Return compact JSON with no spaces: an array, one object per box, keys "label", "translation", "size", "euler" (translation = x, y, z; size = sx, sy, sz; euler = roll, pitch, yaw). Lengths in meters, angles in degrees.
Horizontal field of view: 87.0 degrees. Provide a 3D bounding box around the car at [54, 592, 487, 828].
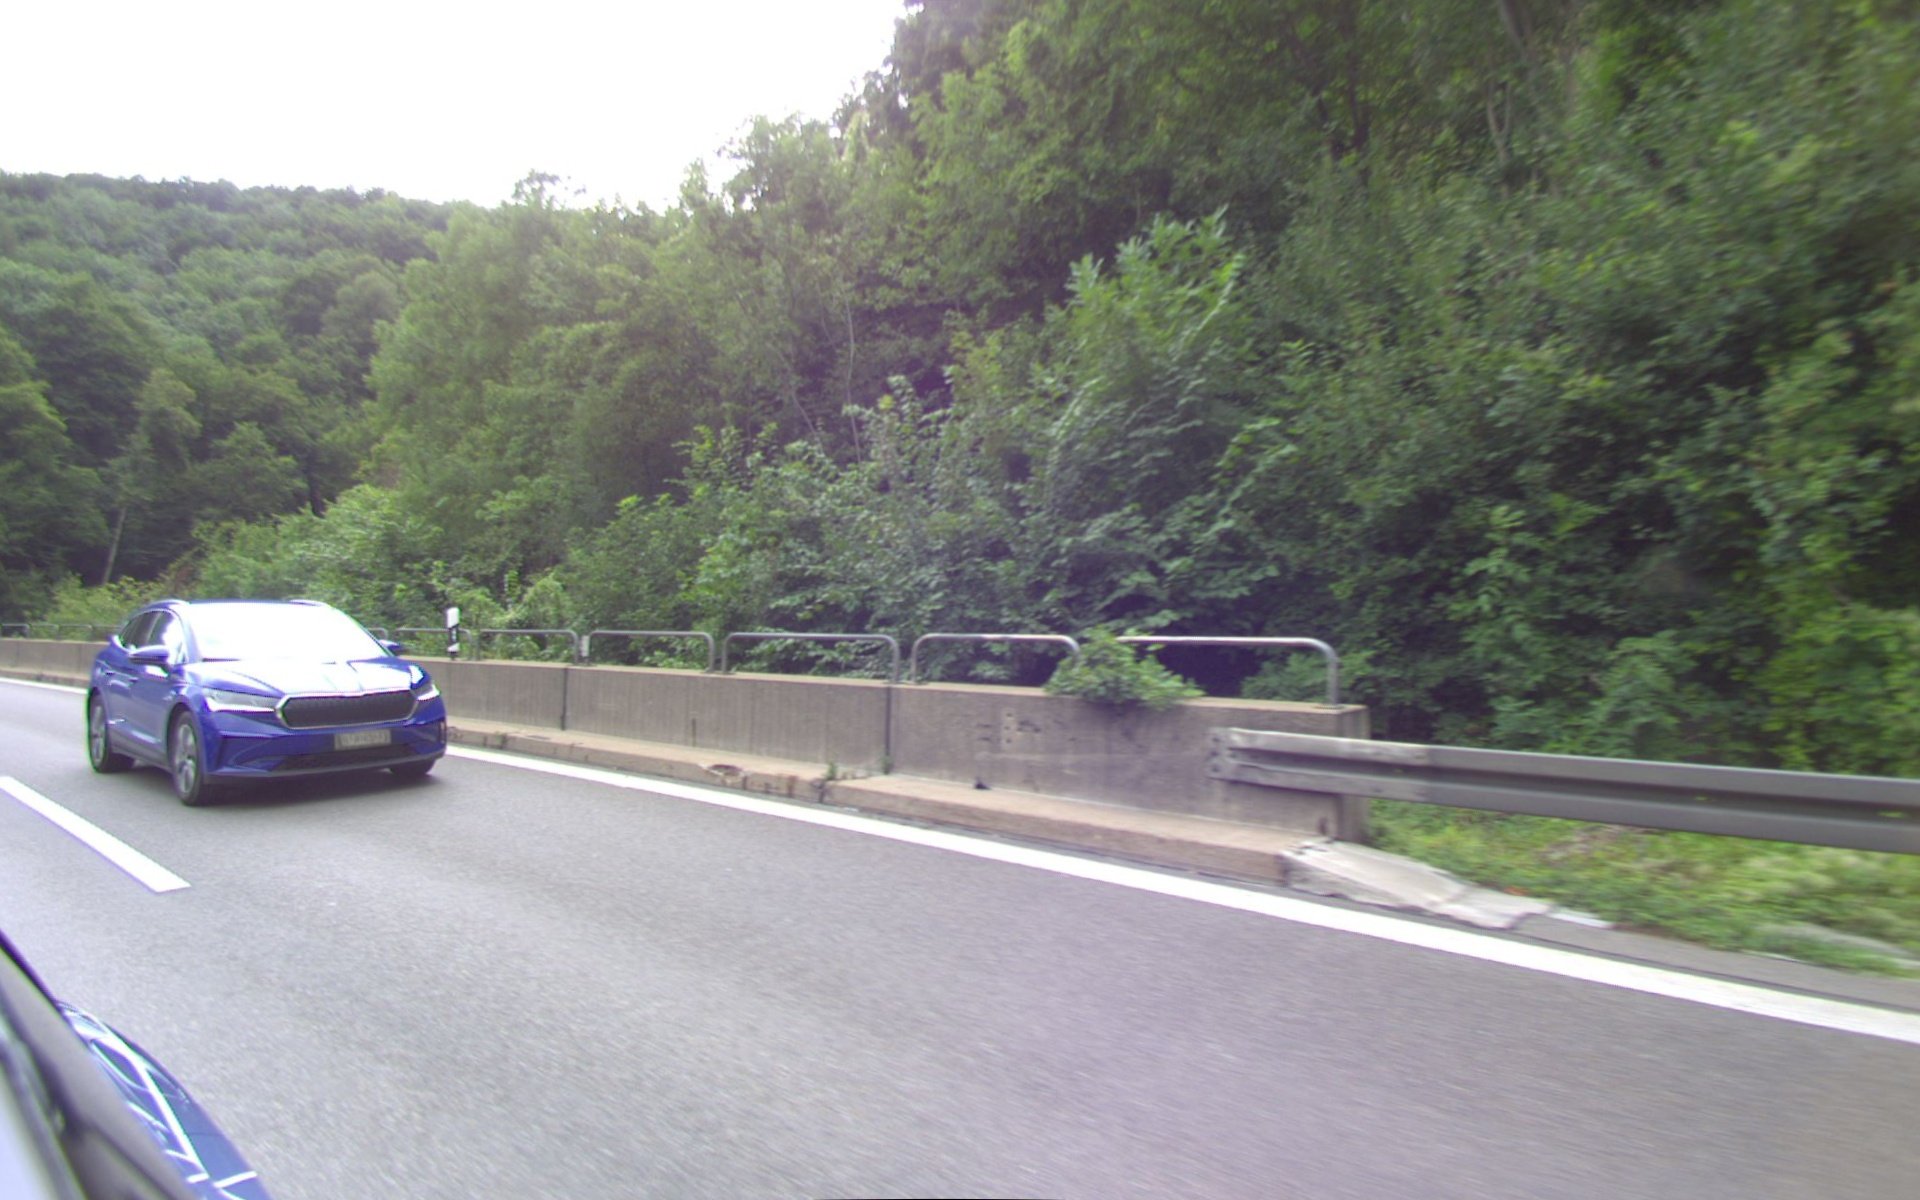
[{"label":"car","translation":[-6.623,0.808,9.466],"size":[5.002,1.644,1.974],"euler":[-1,0,39]}]
